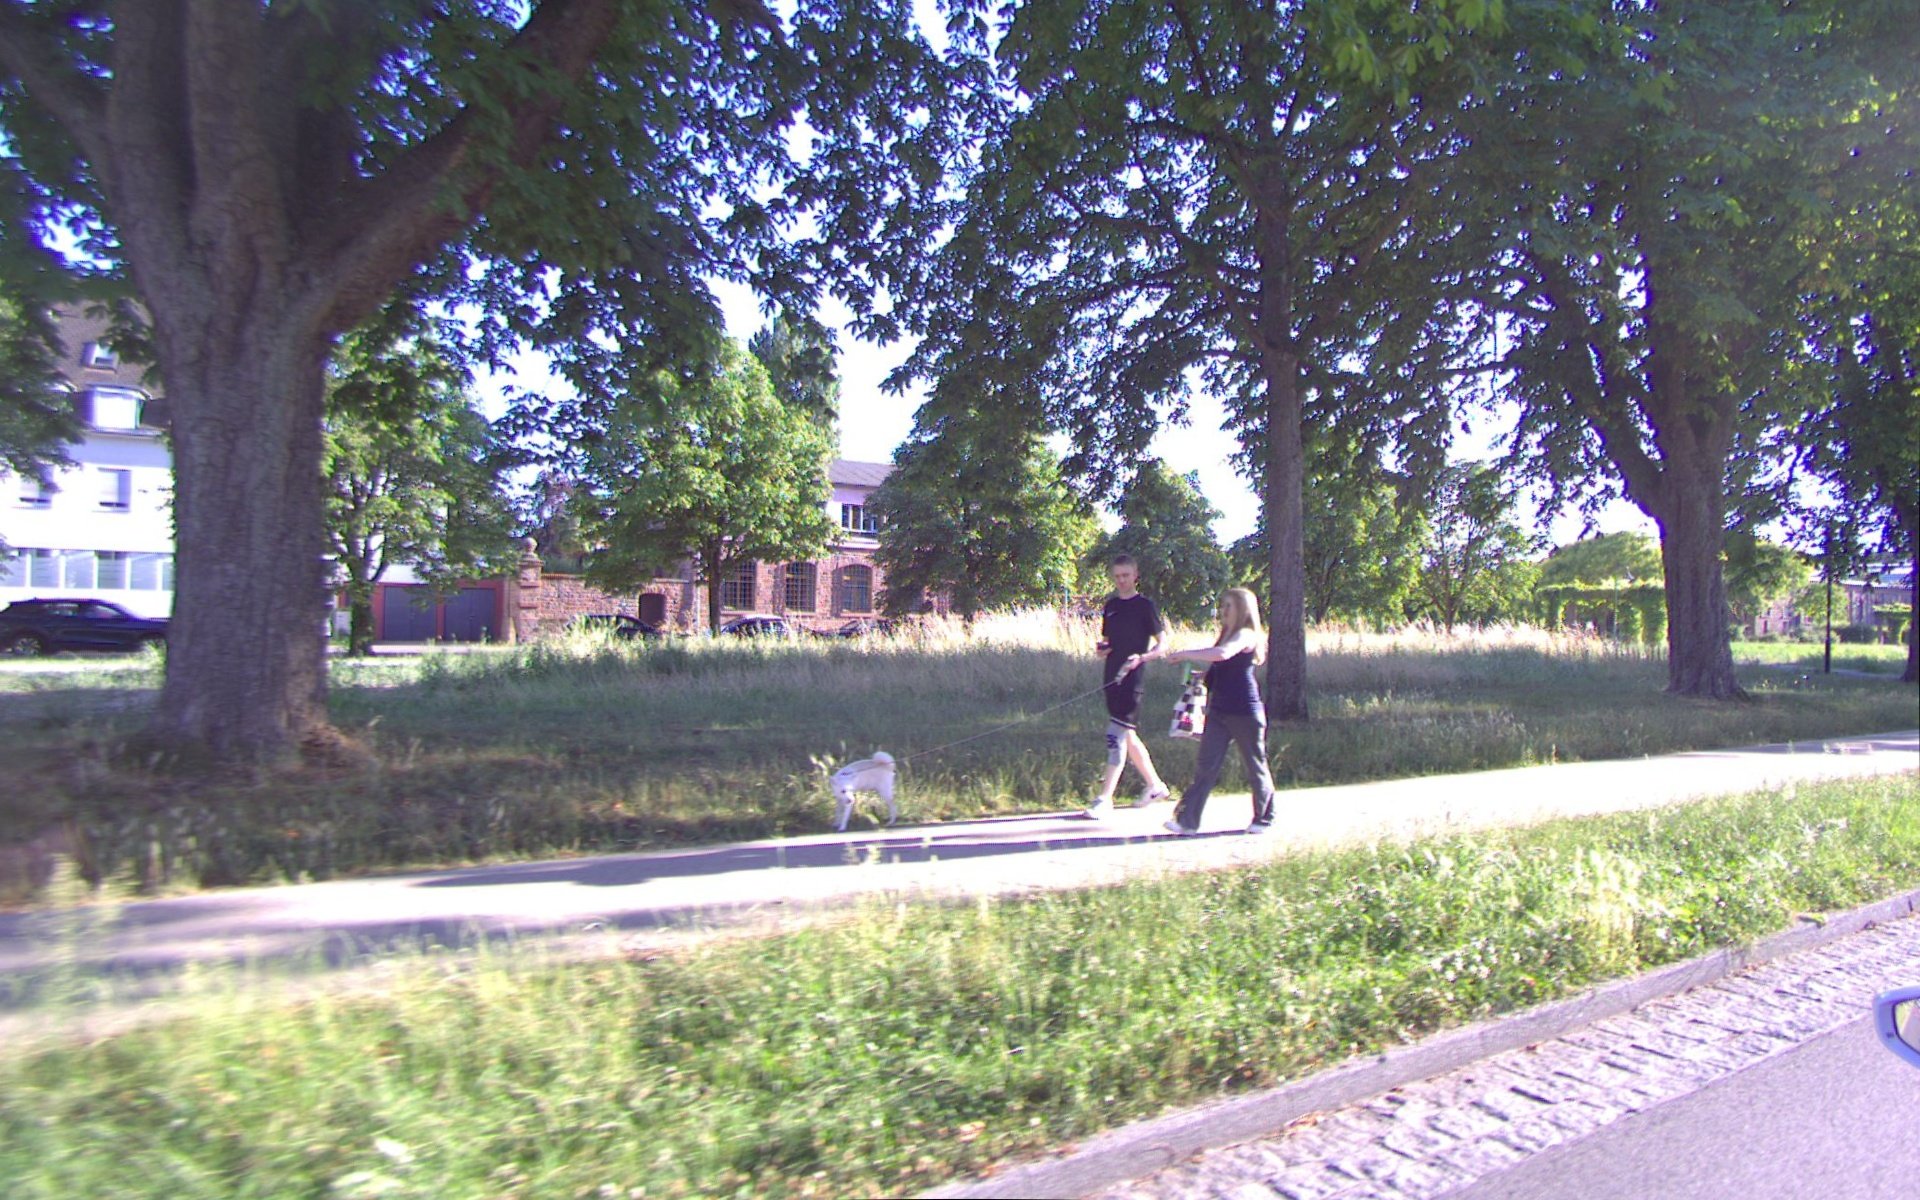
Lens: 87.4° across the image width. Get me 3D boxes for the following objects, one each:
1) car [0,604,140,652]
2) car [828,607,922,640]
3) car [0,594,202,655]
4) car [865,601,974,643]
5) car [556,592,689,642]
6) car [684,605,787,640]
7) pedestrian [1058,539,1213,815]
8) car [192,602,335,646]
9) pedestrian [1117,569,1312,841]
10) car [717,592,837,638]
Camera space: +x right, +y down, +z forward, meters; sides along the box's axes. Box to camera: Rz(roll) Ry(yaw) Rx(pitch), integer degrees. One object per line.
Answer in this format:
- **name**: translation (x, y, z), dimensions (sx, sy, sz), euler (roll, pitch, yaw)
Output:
- **car**: translation (-28.551, 0.865, 31.278), dimensions (4.424, 1.350, 1.563), euler (2, 0, -29)
- **car**: translation (-3.845, 1.069, 45.712), dimensions (3.953, 1.424, 1.621), euler (2, 0, -30)
- **car**: translation (-24.080, 0.693, 28.255), dimensions (4.173, 1.619, 1.684), euler (2, 0, -31)
- **car**: translation (-1.654, 0.910, 41.207), dimensions (4.173, 1.619, 1.684), euler (2, 0, -31)
- **car**: translation (-11.829, 0.602, 35.278), dimensions (4.173, 1.619, 1.684), euler (2, 0, -31)
- **car**: translation (-9.580, 0.960, 42.935), dimensions (3.953, 1.424, 1.621), euler (2, 0, -30)
- **pedestrian**: translation (1.258, 0.526, 7.233), dimensions (0.874, 1.855, 0.622), euler (1, 0, -26)
- **car**: translation (-23.637, 0.817, 34.237), dimensions (3.805, 1.350, 1.563), euler (2, 0, -29)
- **pedestrian**: translation (1.656, 0.643, 6.601), dimensions (0.939, 1.636, 0.780), euler (1, 0, -26)
- **car**: translation (-6.930, 0.579, 38.149), dimensions (4.173, 1.619, 1.684), euler (2, 0, -31)
